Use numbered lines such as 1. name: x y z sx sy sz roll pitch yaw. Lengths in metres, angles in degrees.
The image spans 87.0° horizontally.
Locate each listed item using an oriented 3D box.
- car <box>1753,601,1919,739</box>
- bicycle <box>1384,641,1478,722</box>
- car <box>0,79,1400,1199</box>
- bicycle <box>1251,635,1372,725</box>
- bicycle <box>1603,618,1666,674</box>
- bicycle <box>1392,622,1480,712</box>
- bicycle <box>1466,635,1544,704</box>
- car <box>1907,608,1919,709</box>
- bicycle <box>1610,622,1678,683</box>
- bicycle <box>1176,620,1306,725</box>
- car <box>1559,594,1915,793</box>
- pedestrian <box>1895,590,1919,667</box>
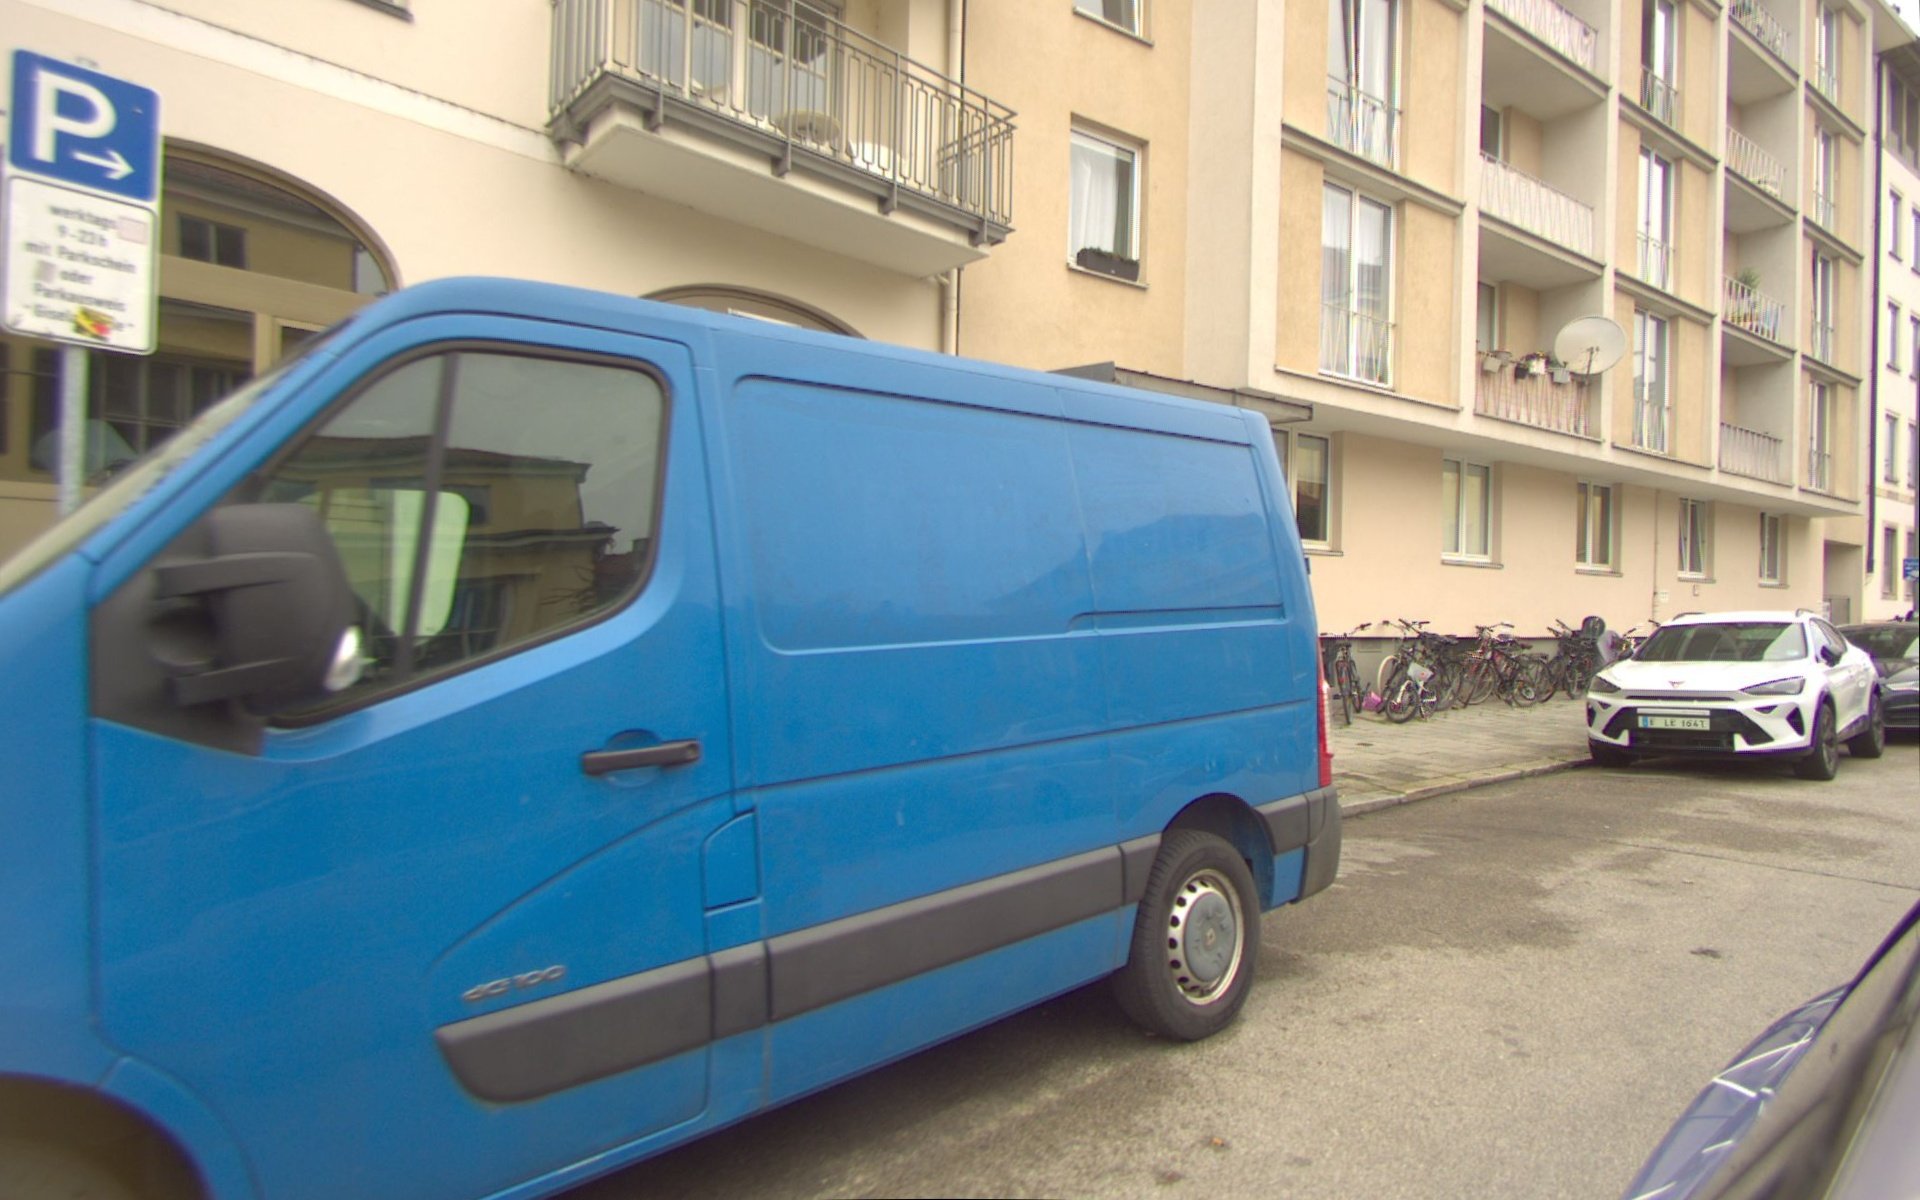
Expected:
1. car: 12.511 0.826 13.201 5.063 1.542 1.885 1 -3 -34
2. bicycle: 5.821 0.987 12.489 1.365 0.916 0.379 1 0 -33
3. car: -0.907 0.359 3.257 5.153 2.262 2.082 -2 -2 -40
4. bicycle: 4.105 0.900 11.767 1.703 0.935 0.456 1 0 -37
5. bicycle: 11.522 0.774 17.277 1.365 0.916 0.379 1 0 -33
6. bicycle: 6.296 0.860 13.368 1.365 1.133 0.379 1 0 -33
7. bicycle: 7.773 0.972 14.422 1.365 0.916 0.379 1 0 -33
8. car: 16.632 0.879 15.918 4.494 1.508 1.699 1 -2 -36
9. bicycle: 10.947 0.822 16.191 1.365 0.916 0.379 1 1 -33
10. bicycle: 3.319 0.810 11.868 1.819 1.124 0.456 0 0 -37
11. car: 7.861 0.775 10.075 4.565 1.553 1.788 1 -3 -40
12. pedestrian: 23.127 0.679 24.349 0.887 1.785 0.725 -2 1 -33
